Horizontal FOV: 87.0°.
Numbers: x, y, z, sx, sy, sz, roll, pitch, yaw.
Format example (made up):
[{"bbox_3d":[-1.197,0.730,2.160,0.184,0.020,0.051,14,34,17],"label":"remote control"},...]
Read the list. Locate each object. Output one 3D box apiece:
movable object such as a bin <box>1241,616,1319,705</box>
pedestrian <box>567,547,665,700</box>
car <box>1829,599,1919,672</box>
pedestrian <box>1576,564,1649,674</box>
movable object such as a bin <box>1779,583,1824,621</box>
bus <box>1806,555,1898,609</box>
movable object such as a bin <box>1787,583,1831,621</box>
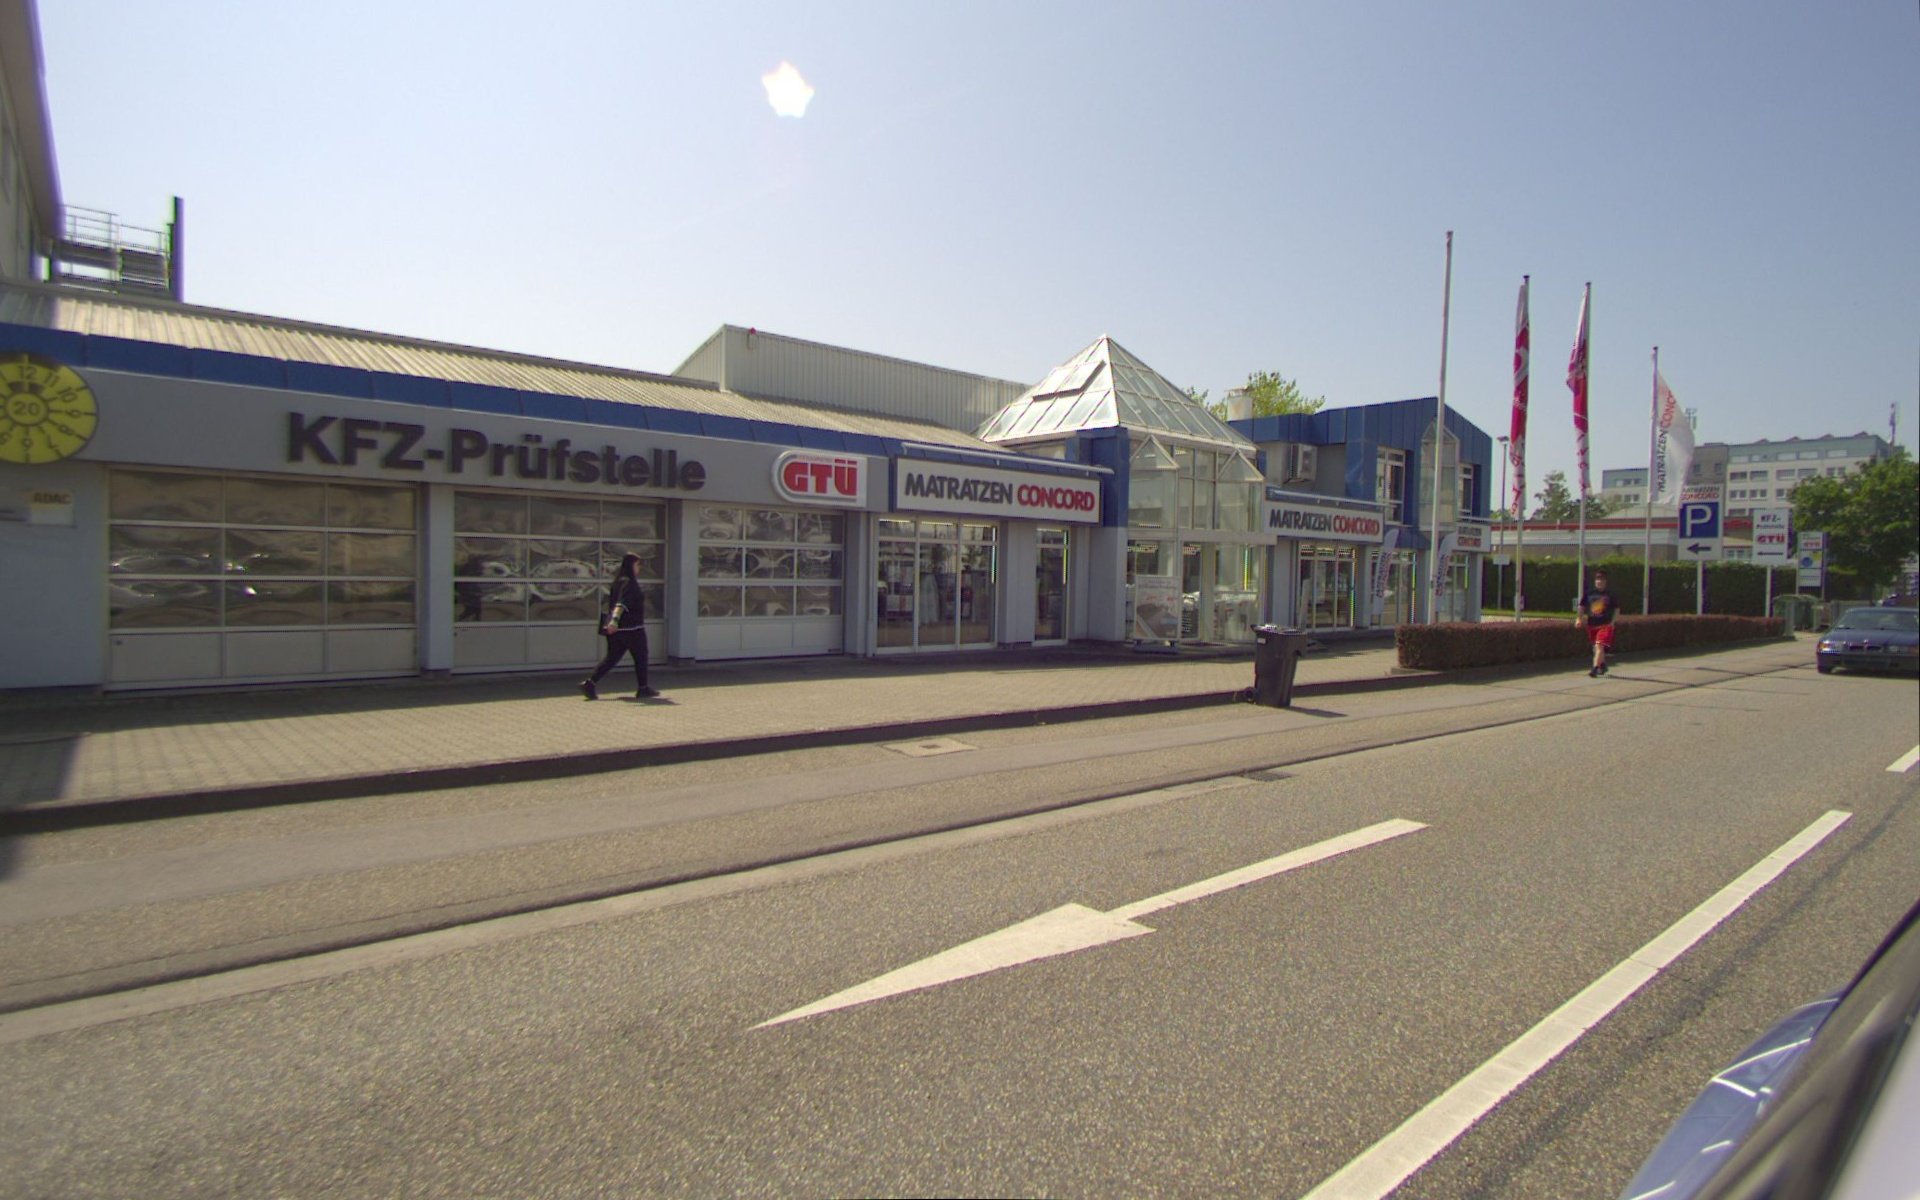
[{"bbox_3d":[3.724,0.686,11.780,0.641,0.930,0.552,0,5,-40],"label":"movable object such as a bin"},{"bbox_3d":[-3.898,0.248,11.465,0.837,1.647,0.812,0,0,-37],"label":"pedestrian"},{"bbox_3d":[19.271,0.677,20.783,3.691,1.356,1.631,0,1,-41],"label":"car"},{"bbox_3d":[11.568,0.311,17.940,0.919,1.869,0.787,0,2,-38],"label":"pedestrian"},{"bbox_3d":[34.487,0.082,41.491,1.463,1.488,1.133,0,2,-40],"label":"movable object such as a bin"},{"bbox_3d":[56.998,-1.120,64.577,8.913,3.191,2.757,0,3,-38],"label":"bus"},{"bbox_3d":[35.680,0.071,42.524,1.463,1.488,1.133,0,2,-40],"label":"movable object such as a bin"}]
